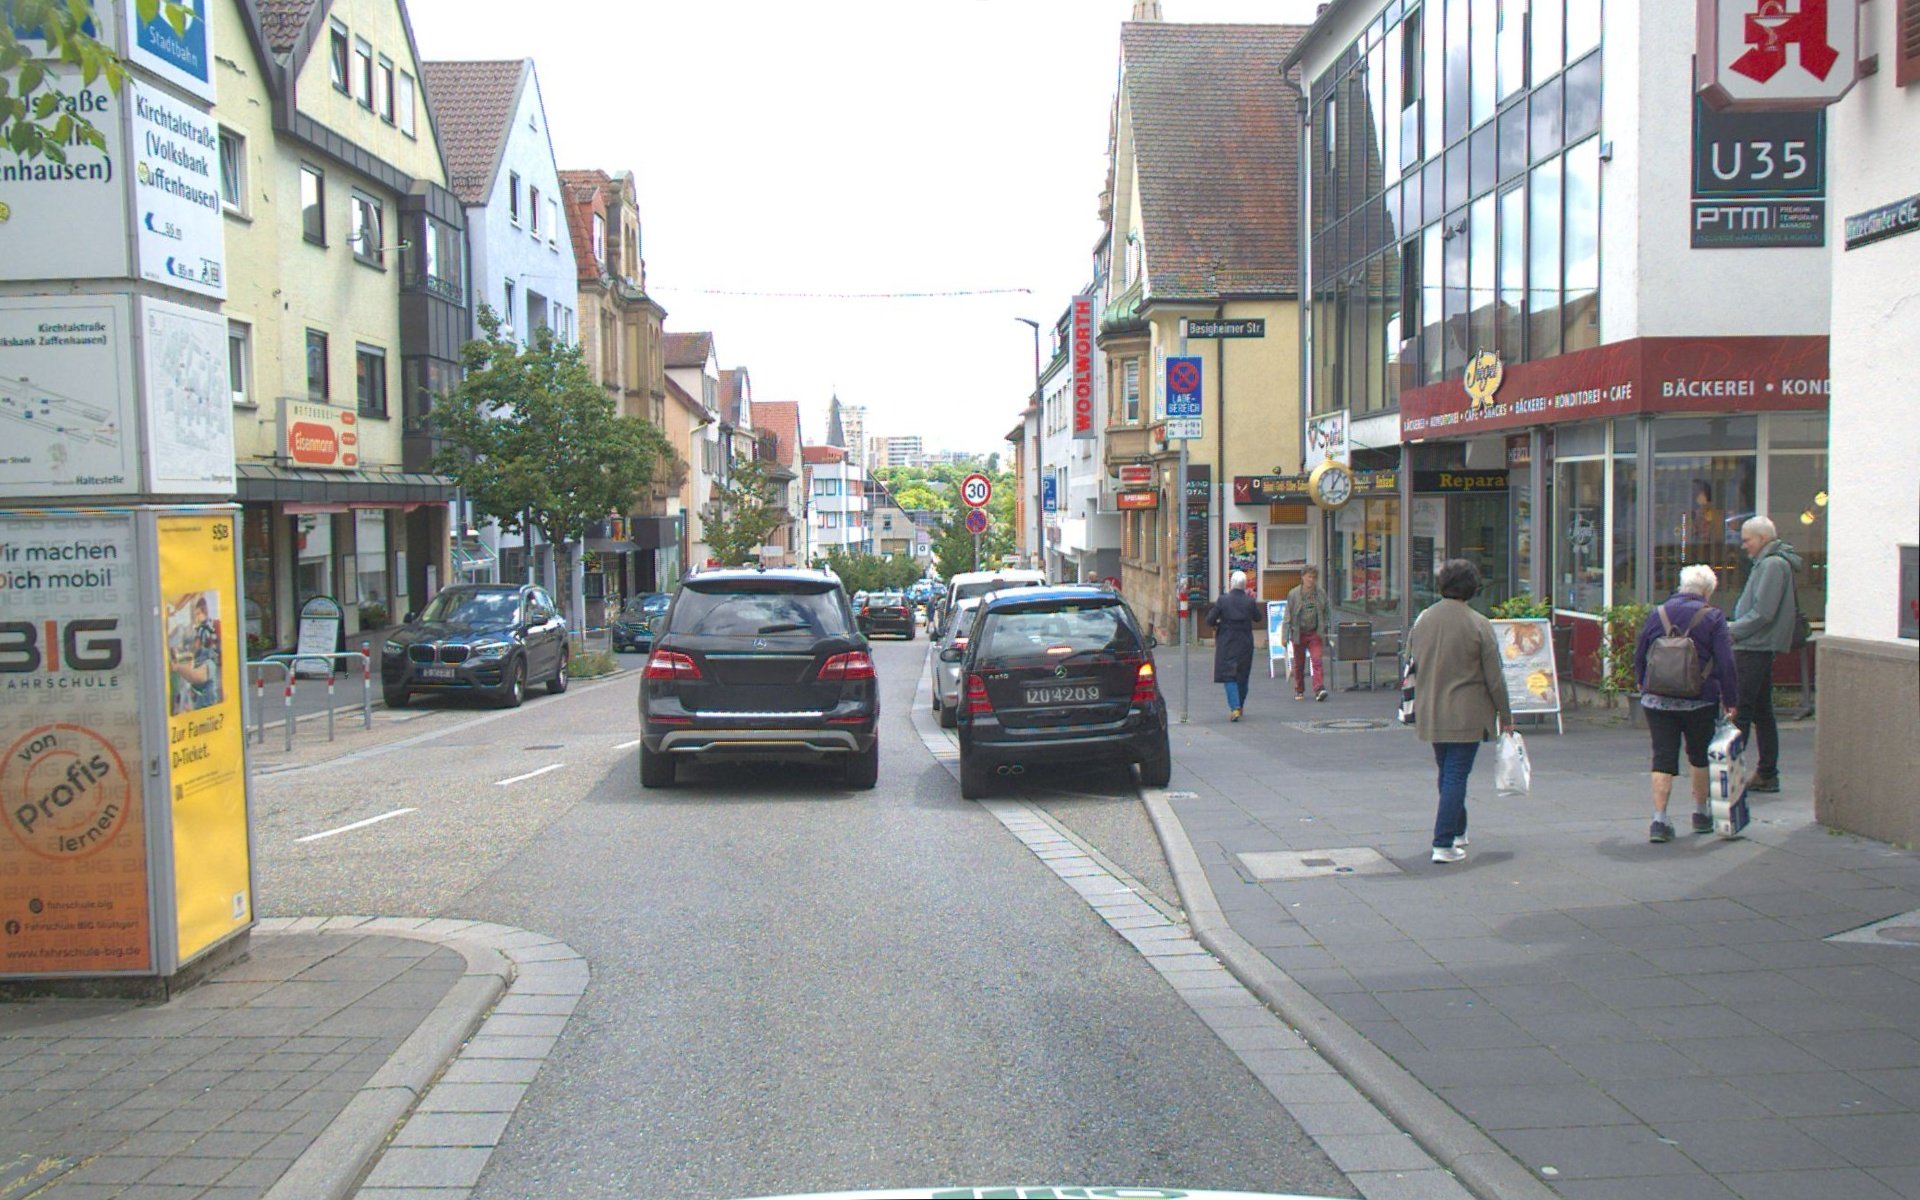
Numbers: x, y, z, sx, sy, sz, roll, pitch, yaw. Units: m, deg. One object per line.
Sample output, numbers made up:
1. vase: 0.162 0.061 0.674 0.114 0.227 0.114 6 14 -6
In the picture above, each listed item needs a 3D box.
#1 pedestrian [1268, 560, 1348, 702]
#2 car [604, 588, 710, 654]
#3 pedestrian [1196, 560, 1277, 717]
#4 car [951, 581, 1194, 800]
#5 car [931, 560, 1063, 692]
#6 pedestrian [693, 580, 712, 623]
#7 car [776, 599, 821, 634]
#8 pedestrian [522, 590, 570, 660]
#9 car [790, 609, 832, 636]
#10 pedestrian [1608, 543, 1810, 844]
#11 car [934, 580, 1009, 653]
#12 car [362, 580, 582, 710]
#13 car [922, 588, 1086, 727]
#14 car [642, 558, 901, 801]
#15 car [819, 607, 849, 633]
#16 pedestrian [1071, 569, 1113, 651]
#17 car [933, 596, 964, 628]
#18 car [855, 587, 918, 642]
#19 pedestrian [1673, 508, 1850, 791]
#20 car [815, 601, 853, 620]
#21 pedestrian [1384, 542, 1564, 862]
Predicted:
1. pedestrian: 4.357 0.379 20.750 0.845 1.737 0.945 -1 0 5
2. car: -7.554 0.490 41.657 1.888 1.518 4.841 1 0 -2
3. pedestrian: 3.068 0.414 18.403 0.806 1.695 0.802 -1 0 5
4. car: 0.834 0.663 14.248 1.766 1.582 3.953 -1 0 0
5. car: 0.634 0.358 25.584 1.837 1.831 4.734 -1 0 3
6. pedestrian: -8.948 0.059 57.425 0.480 1.489 0.559 1 -1 8
7. car: -7.939 0.826 81.762 1.888 1.650 4.637 0 -1 -2
8. pedestrian: -9.053 0.550 36.189 0.809 1.489 0.809 1 -1 -1
9. car: -8.025 1.202 89.527 1.887 1.455 4.262 0 0 0
10. pedestrian: 4.131 0.497 9.176 0.709 1.557 0.808 -4 0 5
11. car: 0.270 0.386 41.212 1.712 1.636 3.800 -3 0 0
12. car: -7.083 0.579 24.524 1.966 1.723 4.606 1 1 -1
13. car: 0.444 0.628 20.373 1.669 1.493 3.997 -2 0 -3
14. car: -1.748 0.579 14.291 1.908 1.770 4.168 0 0 -10
15. car: -8.407 1.337 110.450 1.888 1.623 4.454 1 0 -4
16. pedestrian: 2.905 0.215 36.410 0.780 1.757 1.053 -1 0 -1
17. car: -0.762 0.783 109.342 1.899 1.924 4.705 -3 0 -1
18. car: -2.241 0.426 51.179 1.749 1.567 3.744 -2 1 -1
19. pedestrian: 5.305 0.317 10.996 0.758 1.800 0.818 -1 0 1
20. car: -13.549 1.143 178.112 3.909 1.780 1.998 -3 -1 -5
21. pedestrian: 2.809 0.537 9.118 0.756 1.674 0.870 -1 0 5
